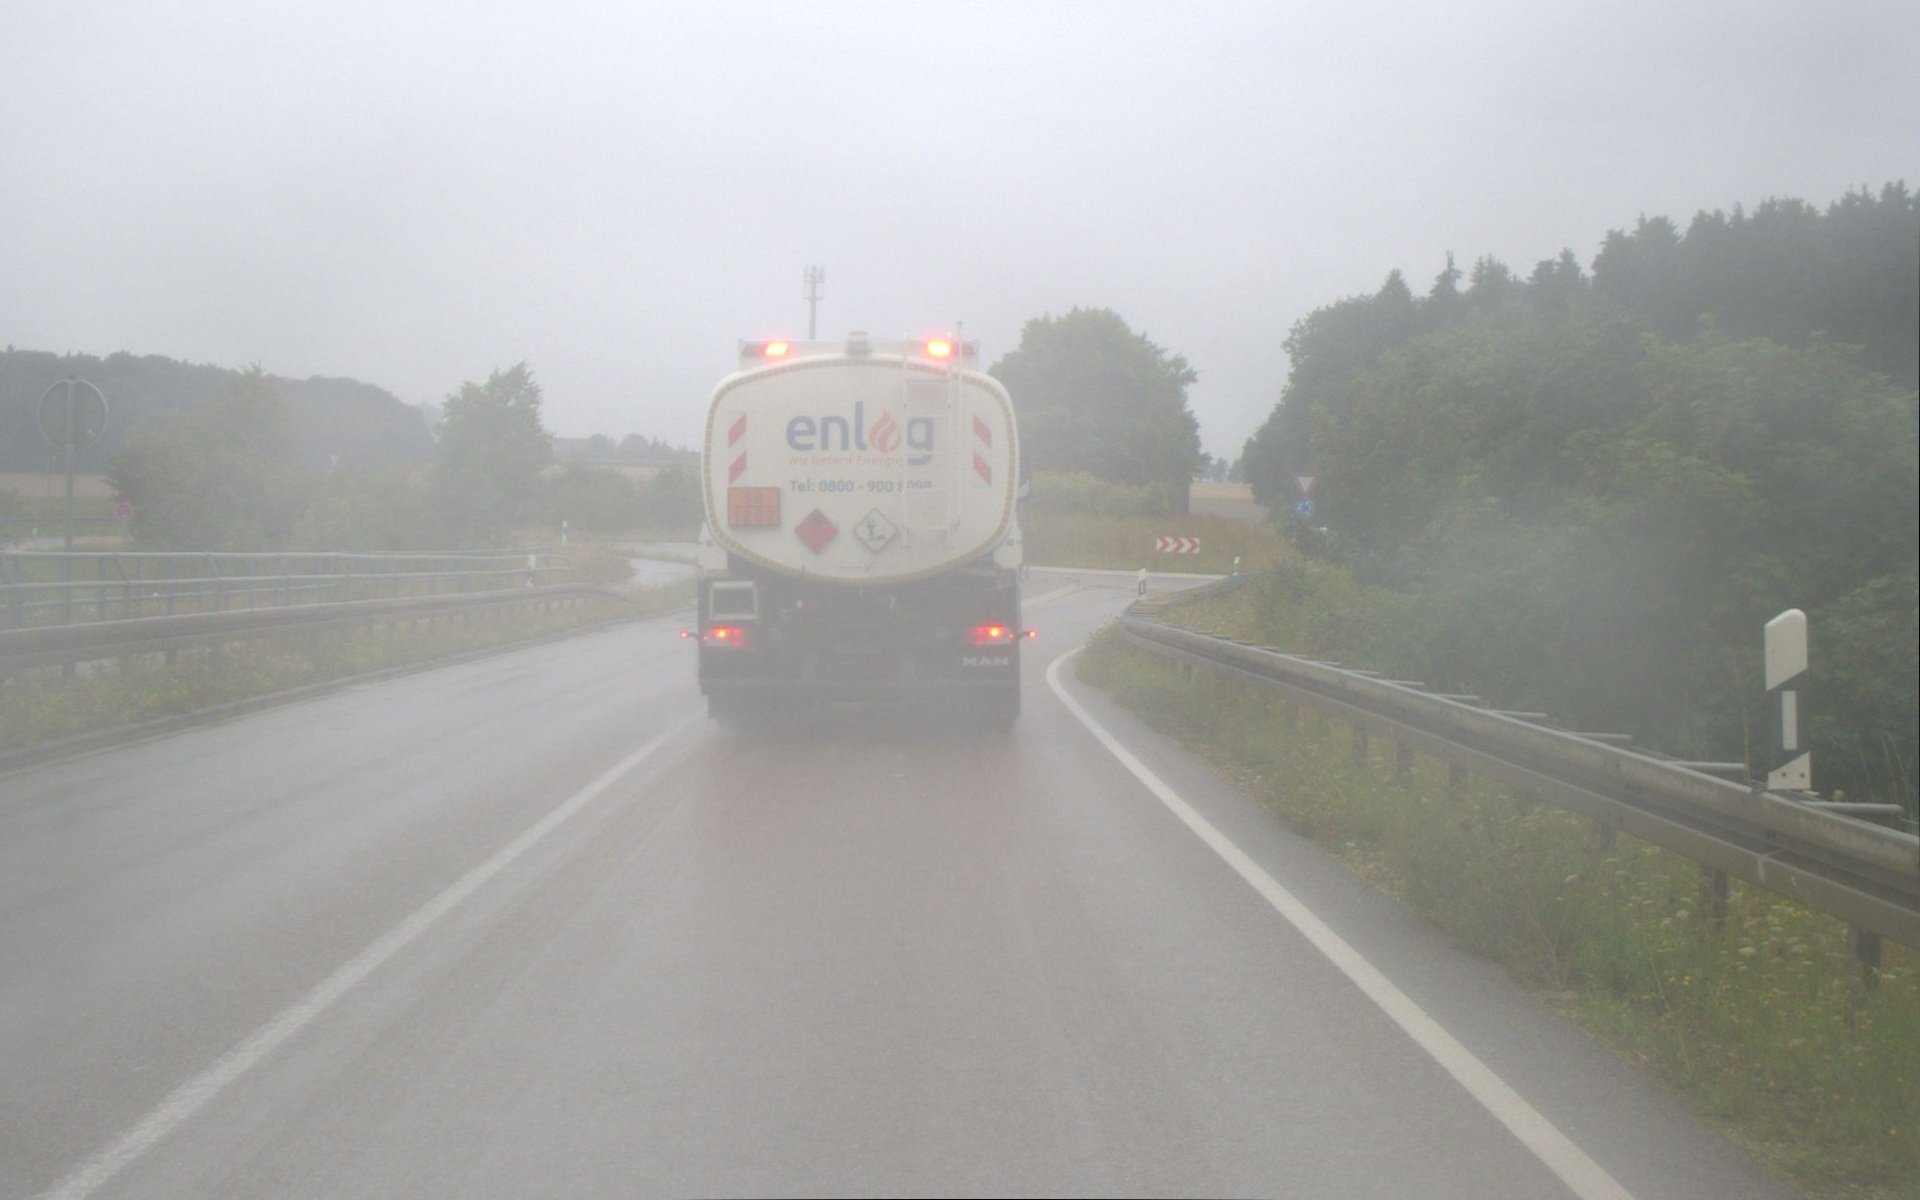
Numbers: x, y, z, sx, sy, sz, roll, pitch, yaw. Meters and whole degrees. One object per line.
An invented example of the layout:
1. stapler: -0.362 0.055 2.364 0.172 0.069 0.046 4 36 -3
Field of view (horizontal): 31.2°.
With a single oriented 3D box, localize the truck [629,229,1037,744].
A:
1. truck: -0.928 -0.954 30.176 3.039 3.838 8.823 0 1 0
